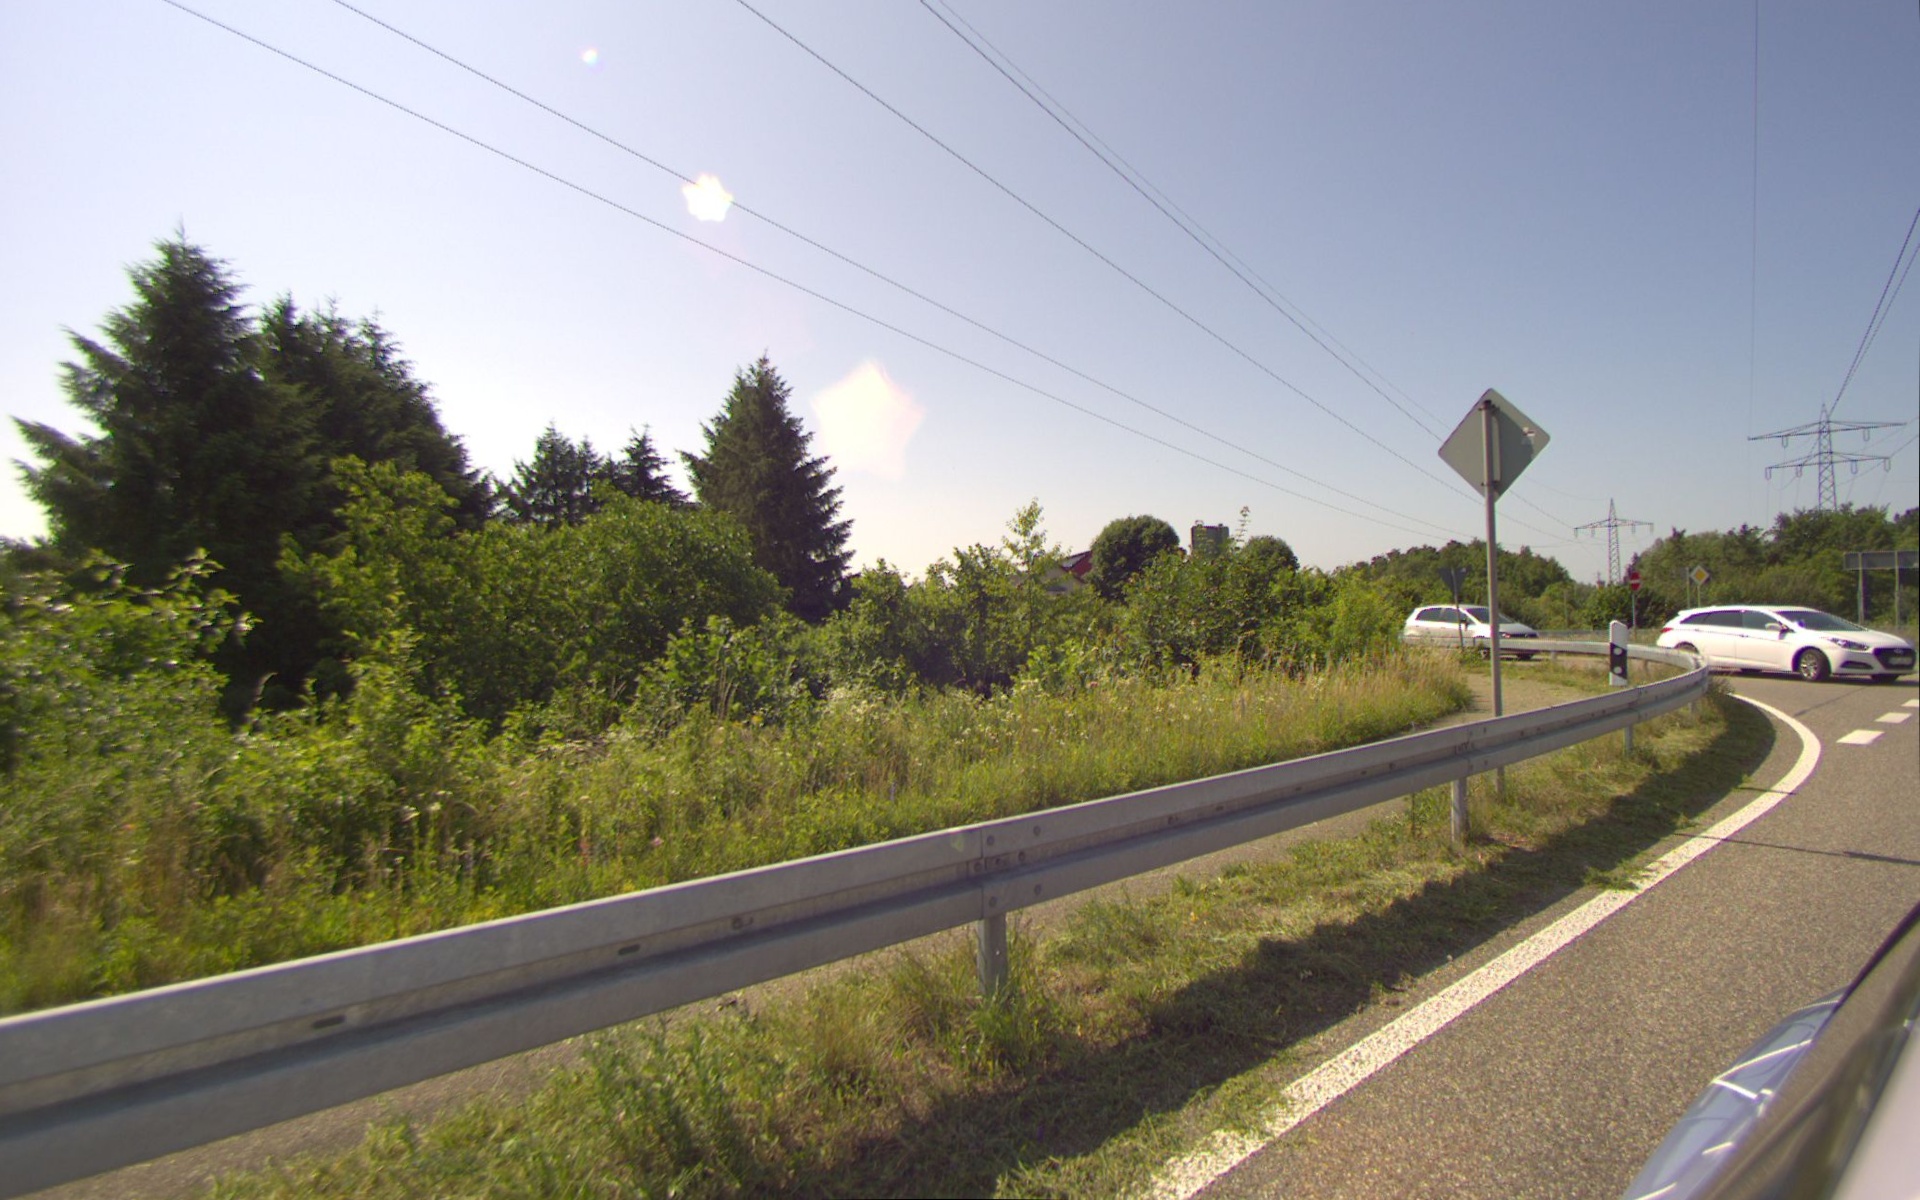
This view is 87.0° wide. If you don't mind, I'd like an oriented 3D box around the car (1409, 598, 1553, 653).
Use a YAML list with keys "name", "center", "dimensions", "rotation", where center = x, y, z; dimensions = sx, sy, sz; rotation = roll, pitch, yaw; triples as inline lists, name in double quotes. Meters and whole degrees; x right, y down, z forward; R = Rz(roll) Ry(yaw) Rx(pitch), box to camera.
- name: "car"
  center: [15.052, 0.684, 29.433]
  dimensions: [1.517, 1.487, 3.668]
  rotation: [0, 0, -20]

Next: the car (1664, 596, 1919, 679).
- name: "car"
  center: [17.009, 0.677, 20.700]
  dimensions: [1.650, 1.499, 4.480]
  rotation: [0, 0, -8]
